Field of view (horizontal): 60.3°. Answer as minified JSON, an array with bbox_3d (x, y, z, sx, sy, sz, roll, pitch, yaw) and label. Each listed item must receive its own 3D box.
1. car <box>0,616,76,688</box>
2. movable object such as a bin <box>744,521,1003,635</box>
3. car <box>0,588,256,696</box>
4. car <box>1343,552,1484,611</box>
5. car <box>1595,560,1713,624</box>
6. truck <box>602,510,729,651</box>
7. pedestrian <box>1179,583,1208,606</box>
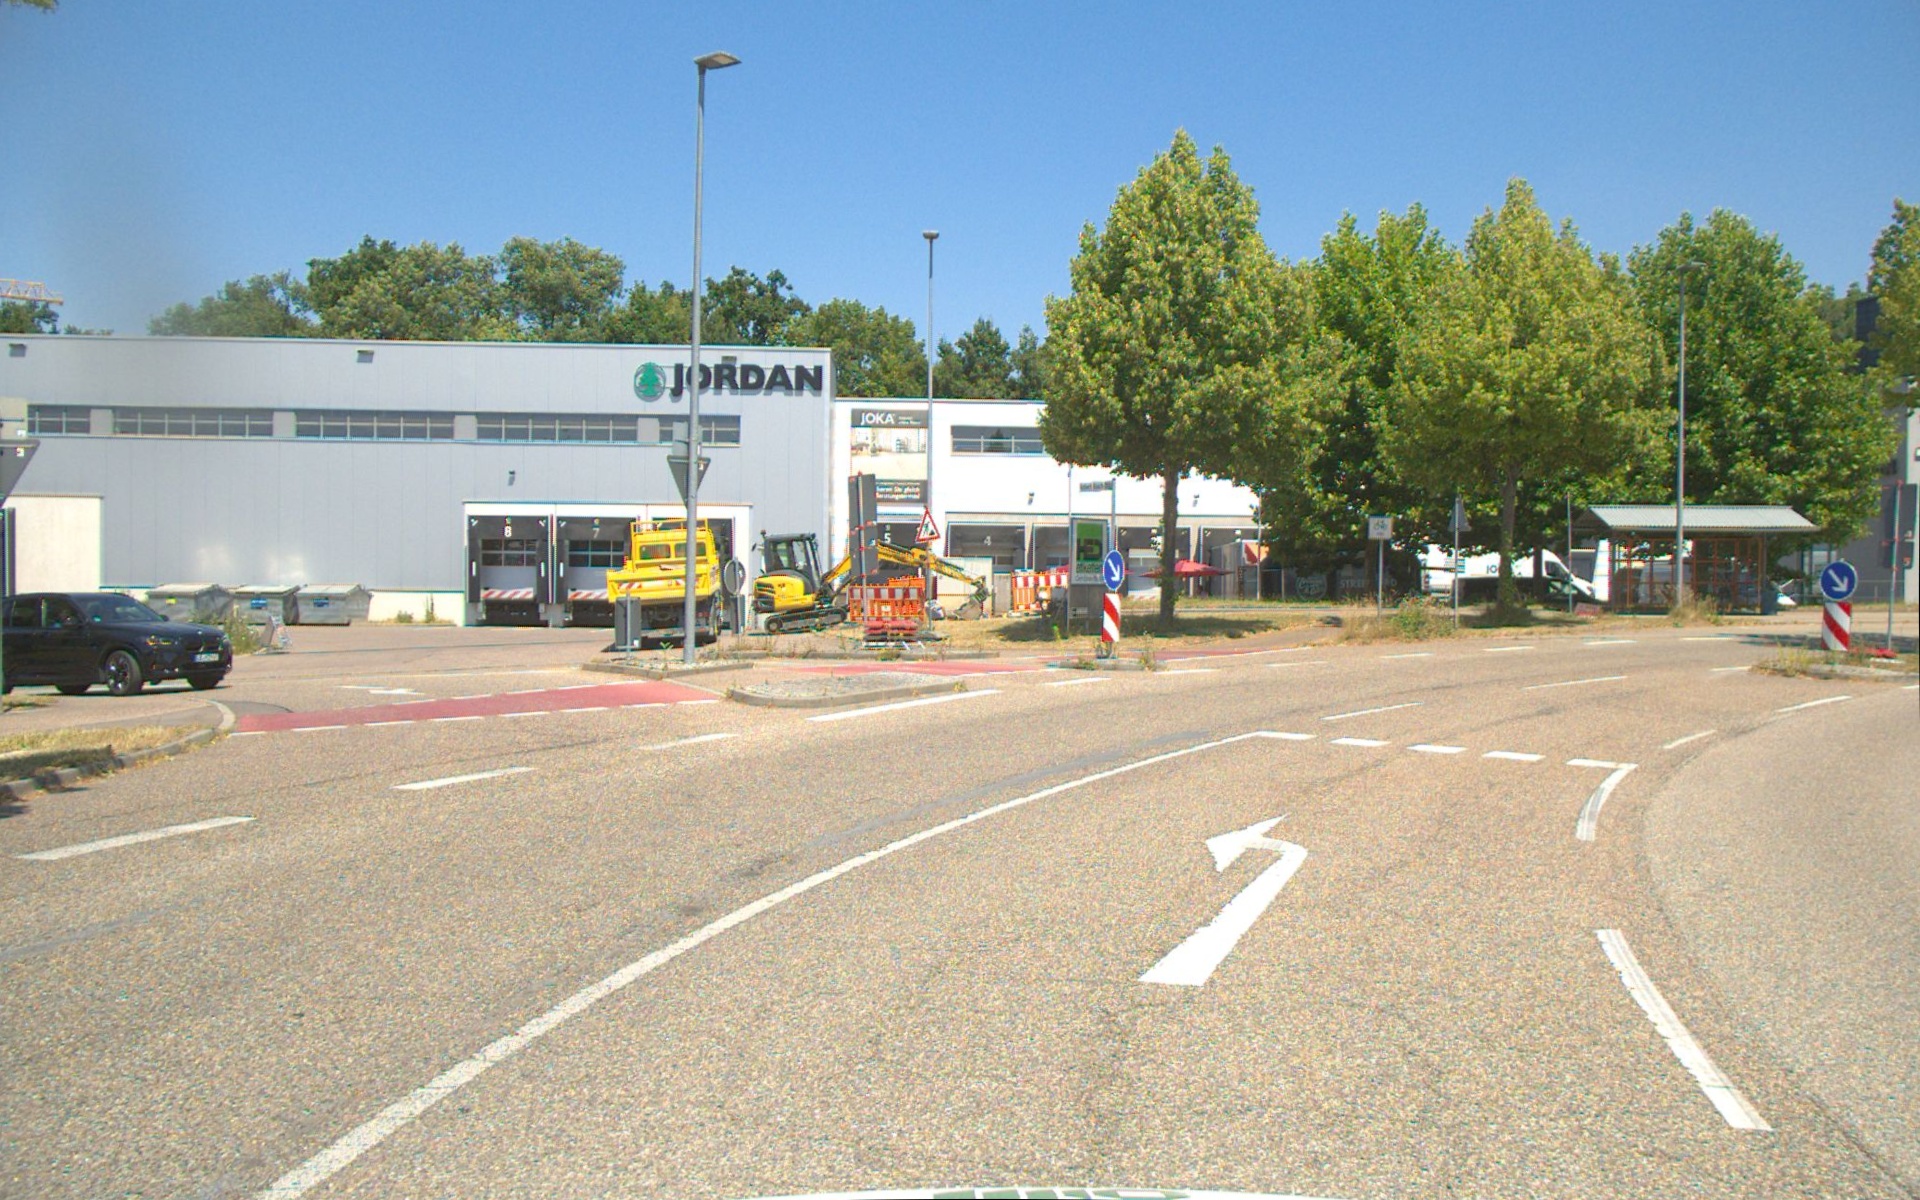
[{"bbox_3d":[-22.625,1.219,39.112,1.554,1.533,3.780,-2,1,-4],"label":"car"},{"bbox_3d":[-2.175,-0.560,42.744,6.419,2.626,2.001,-2,0,3],"label":"movable object such as a bin"},{"bbox_3d":[-14.042,0.698,27.309,4.491,1.663,1.869,-1,-2,23],"label":"car"},{"bbox_3d":[14.234,-0.585,52.062,3.905,1.758,1.840,-1,0,0],"label":"car"},{"bbox_3d":[23.666,-0.249,56.534,1.517,2.049,4.251,2,0,-13],"label":"car"},{"bbox_3d":[-7.333,-0.626,41.942,2.537,3.190,6.418,-3,3,-6],"label":"truck"},{"bbox_3d":[7.522,-0.176,53.255,0.846,0.707,0.408,-1,0,22],"label":"pedestrian"}]
